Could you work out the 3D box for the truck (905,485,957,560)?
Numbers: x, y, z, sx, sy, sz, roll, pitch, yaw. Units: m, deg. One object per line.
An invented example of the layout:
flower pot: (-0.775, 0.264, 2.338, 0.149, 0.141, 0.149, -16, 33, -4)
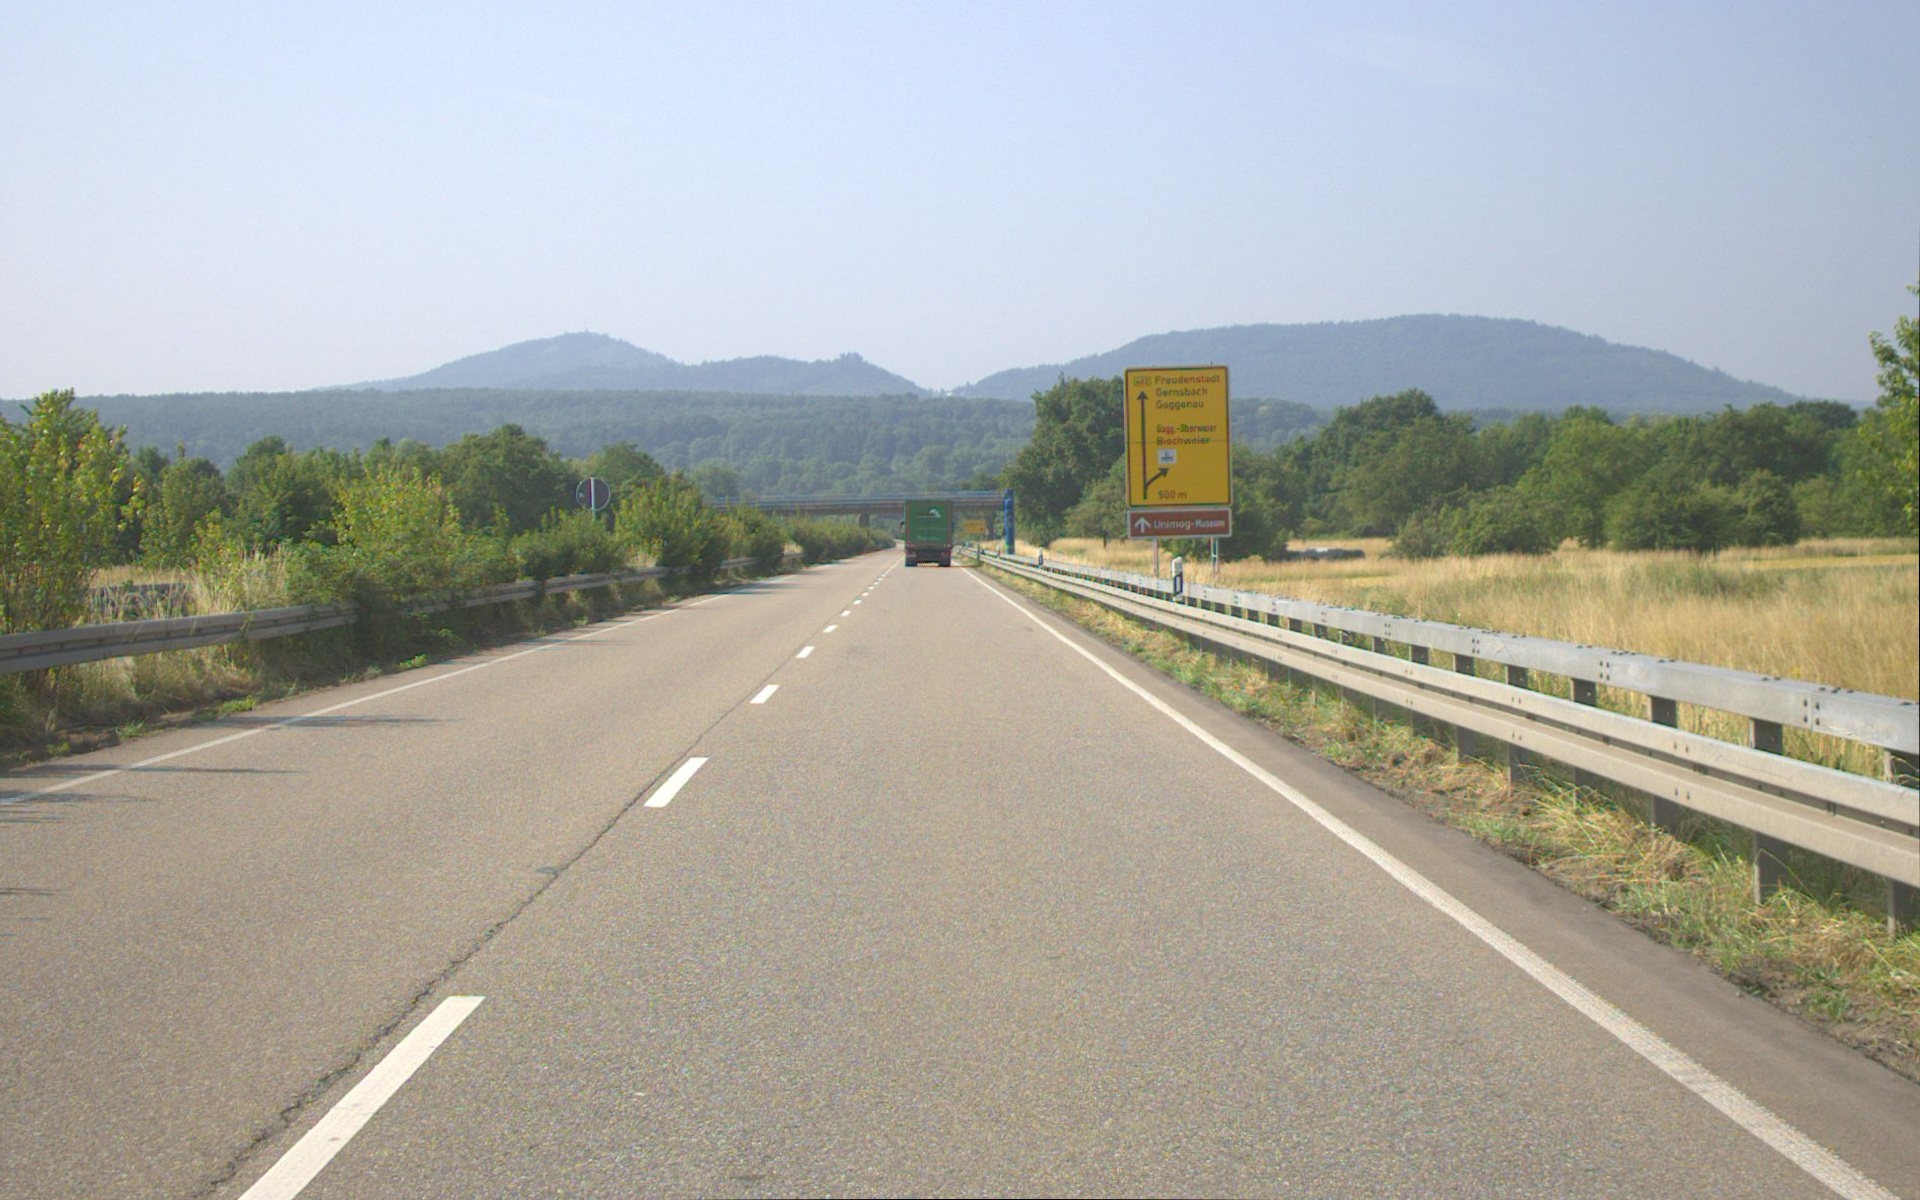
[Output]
truck: (-1.583, -4.329, 189.322, 2.722, 3.951, 10.417, 1, 2, 0)
